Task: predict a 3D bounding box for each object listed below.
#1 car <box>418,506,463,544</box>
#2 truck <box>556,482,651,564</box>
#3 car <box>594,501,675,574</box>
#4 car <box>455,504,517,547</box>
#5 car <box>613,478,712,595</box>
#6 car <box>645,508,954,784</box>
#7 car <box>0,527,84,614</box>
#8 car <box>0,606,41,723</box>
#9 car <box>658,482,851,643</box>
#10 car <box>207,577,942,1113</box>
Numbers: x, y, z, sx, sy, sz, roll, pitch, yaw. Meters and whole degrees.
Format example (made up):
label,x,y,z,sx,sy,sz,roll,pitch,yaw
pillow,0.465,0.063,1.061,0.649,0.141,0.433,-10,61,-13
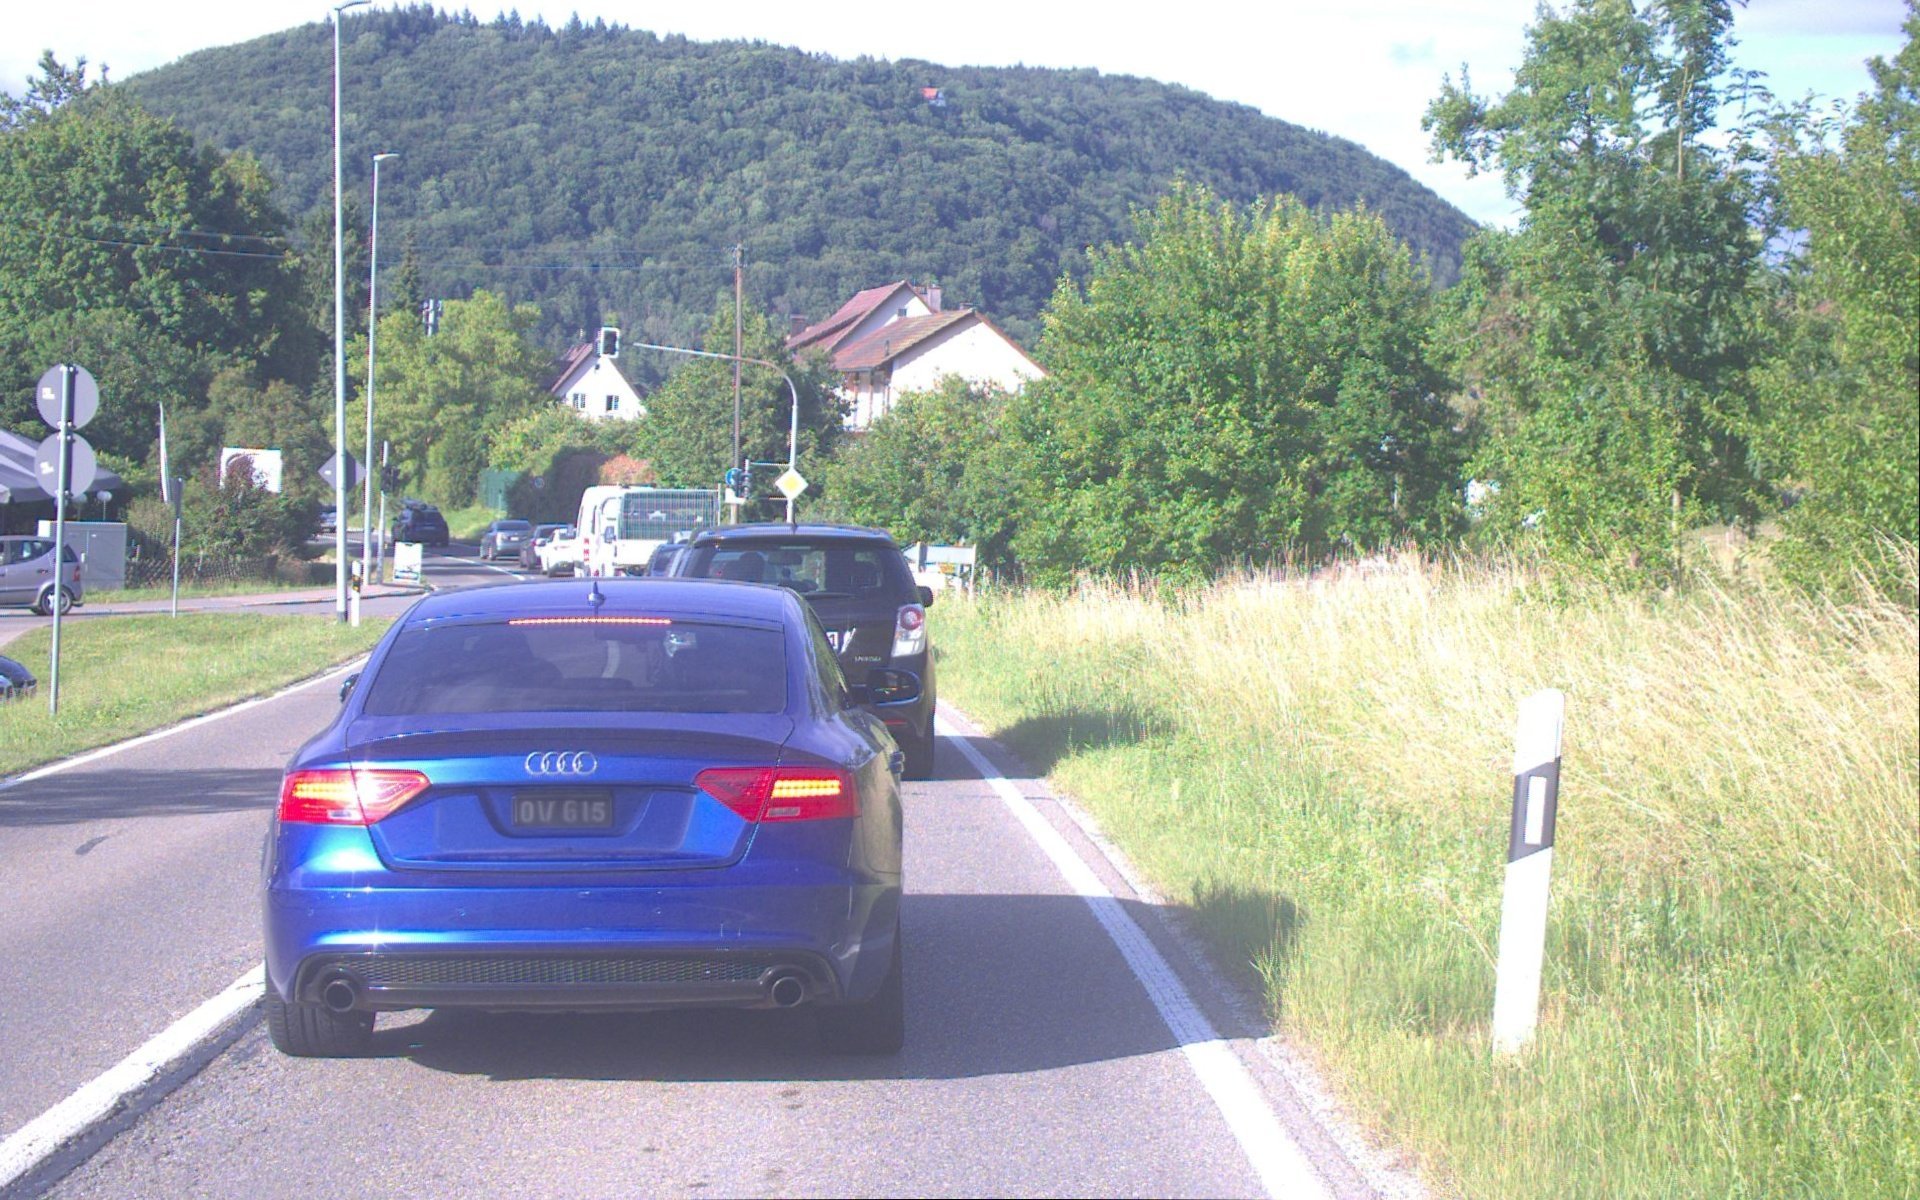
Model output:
label,x,y,z,sx,sy,sz,roll,pitch,yaw
car,-22.042,-3.174,145.823,1.625,1.571,3.680,1,0,-13
truck,-8.900,-1.880,85.482,1.697,1.947,5.924,1,0,-12
car,-7.614,-1.447,80.262,1.746,1.634,4.001,1,0,-7
car,-16.944,-2.638,122.721,1.697,1.485,3.528,1,0,-16
car,-5.820,-1.211,66.938,1.746,2.188,4.001,1,0,-7
car,-0.973,0.262,22.737,1.746,1.634,4.000,1,0,1
car,-19.030,-0.586,67.075,3.459,1.656,1.740,1,0,-27
car,-14.676,0.797,44.862,4.815,1.488,1.880,1,0,9
car,-2.194,-0.401,37.799,1.805,1.634,4.463,1,0,0
car,-1.011,0.620,10.903,1.795,1.383,4.000,0,0,1
